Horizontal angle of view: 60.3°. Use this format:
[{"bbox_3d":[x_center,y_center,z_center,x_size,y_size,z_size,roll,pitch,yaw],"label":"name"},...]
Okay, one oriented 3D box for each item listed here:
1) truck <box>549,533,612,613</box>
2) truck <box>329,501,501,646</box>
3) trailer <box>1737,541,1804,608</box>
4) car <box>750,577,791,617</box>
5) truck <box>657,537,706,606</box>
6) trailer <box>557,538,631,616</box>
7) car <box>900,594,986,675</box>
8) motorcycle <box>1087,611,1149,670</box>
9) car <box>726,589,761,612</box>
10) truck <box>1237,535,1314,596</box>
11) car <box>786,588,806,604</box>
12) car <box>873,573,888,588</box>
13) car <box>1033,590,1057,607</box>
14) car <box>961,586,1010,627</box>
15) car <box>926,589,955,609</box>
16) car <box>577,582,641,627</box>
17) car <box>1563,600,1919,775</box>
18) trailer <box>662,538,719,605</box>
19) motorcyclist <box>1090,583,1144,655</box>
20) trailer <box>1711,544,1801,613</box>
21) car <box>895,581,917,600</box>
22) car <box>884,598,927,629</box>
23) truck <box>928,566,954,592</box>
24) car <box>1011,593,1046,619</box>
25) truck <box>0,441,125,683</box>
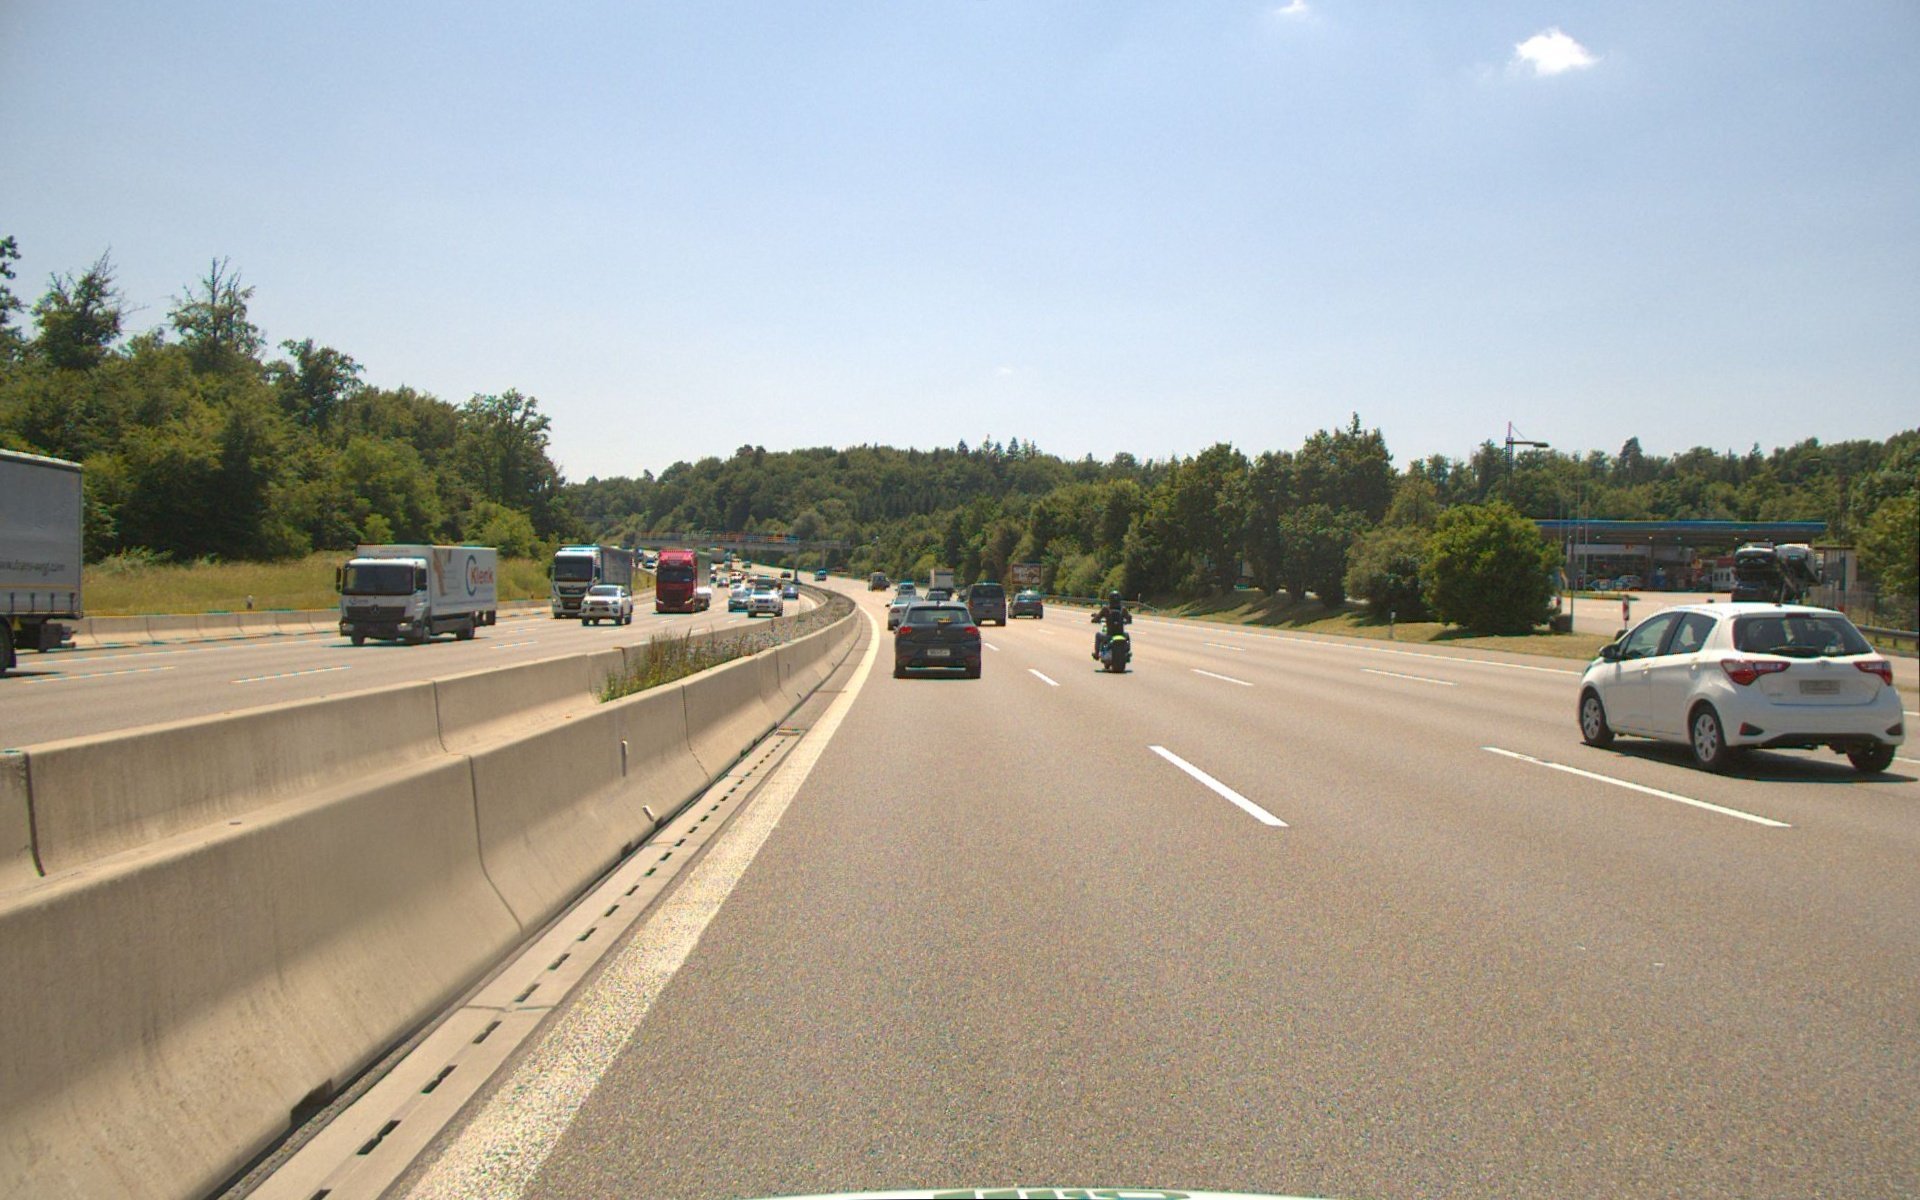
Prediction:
[{"bbox_3d":[-21.910,-1.566,95.700,2.451,4.427,6.601,1,1,-4],"label":"truck"},{"bbox_3d":[-17.316,-0.787,53.319,2.479,4.250,9.617,0,0,-1],"label":"truck"},{"bbox_3d":[49.350,-1.607,100.683,3.025,3.967,5.948,0,2,32],"label":"trailer"},{"bbox_3d":[-11.216,-0.189,98.079,1.953,2.329,5.763,0,0,-2],"label":"car"},{"bbox_3d":[-18.536,-1.878,110.350,2.451,4.427,6.602,1,1,-3],"label":"truck"},{"bbox_3d":[-22.392,-1.377,102.011,2.452,4.427,13.686,1,0,-4],"label":"trailer"},{"bbox_3d":[-0.383,0.671,32.711,1.592,1.513,3.683,0,-1,-2],"label":"car"},{"bbox_3d":[3.262,0.823,34.372,0.958,1.149,2.270,1,0,-3],"label":"motorcycle"},{"bbox_3d":[-15.177,0.013,116.260,1.953,1.575,4.879,0,0,-2],"label":"car"},{"bbox_3d":[26.792,-2.848,141.378,3.259,4.913,14.692,0,0,-2],"label":"truck"},{"bbox_3d":[-17.105,-0.420,172.737,1.954,1.575,4.877,-1,0,-4],"label":"car"},{"bbox_3d":[-11.185,-2.718,232.660,1.954,2.048,4.672,3,1,-3],"label":"car"},{"bbox_3d":[6.379,-0.122,124.577,1.576,1.234,3.459,0,-1,0],"label":"car"},{"bbox_3d":[1.202,0.305,79.010,2.055,1.884,4.078,0,0,-3],"label":"car"},{"bbox_3d":[-1.366,-0.103,114.313,1.805,1.243,4.222,3,1,-3],"label":"car"},{"bbox_3d":[-16.502,0.188,78.038,1.953,2.004,5.735,0,0,-2],"label":"car"},{"bbox_3d":[7.463,0.742,16.119,1.632,1.458,4.376,0,0,1],"label":"car"},{"bbox_3d":[-18.928,-1.985,116.853,2.451,4.427,14.294,1,1,-3],"label":"trailer"},{"bbox_3d":[3.245,0.378,34.276,0.943,1.463,1.234,0,0,-3],"label":"motorcyclist"},{"bbox_3d":[45.714,-1.325,94.747,3.102,3.700,13.586,0,2,32],"label":"trailer"},{"bbox_3d":[-5.325,-0.986,162.751,1.954,1.713,4.421,3,1,-3],"label":"car"},{"bbox_3d":[-2.352,0.576,70.865,1.747,1.287,3.458,-1,0,-3],"label":"car"},{"bbox_3d":[-2.258,-2.449,194.296,2.672,2.834,5.680,3,1,-3],"label":"truck"},{"bbox_3d":[3.918,0.344,95.336,1.642,1.456,3.682,2,0,-3],"label":"car"},{"bbox_3d":[-18.177,-0.672,26.305,2.701,4.250,14.505,0,0,-1],"label":"truck"}]
